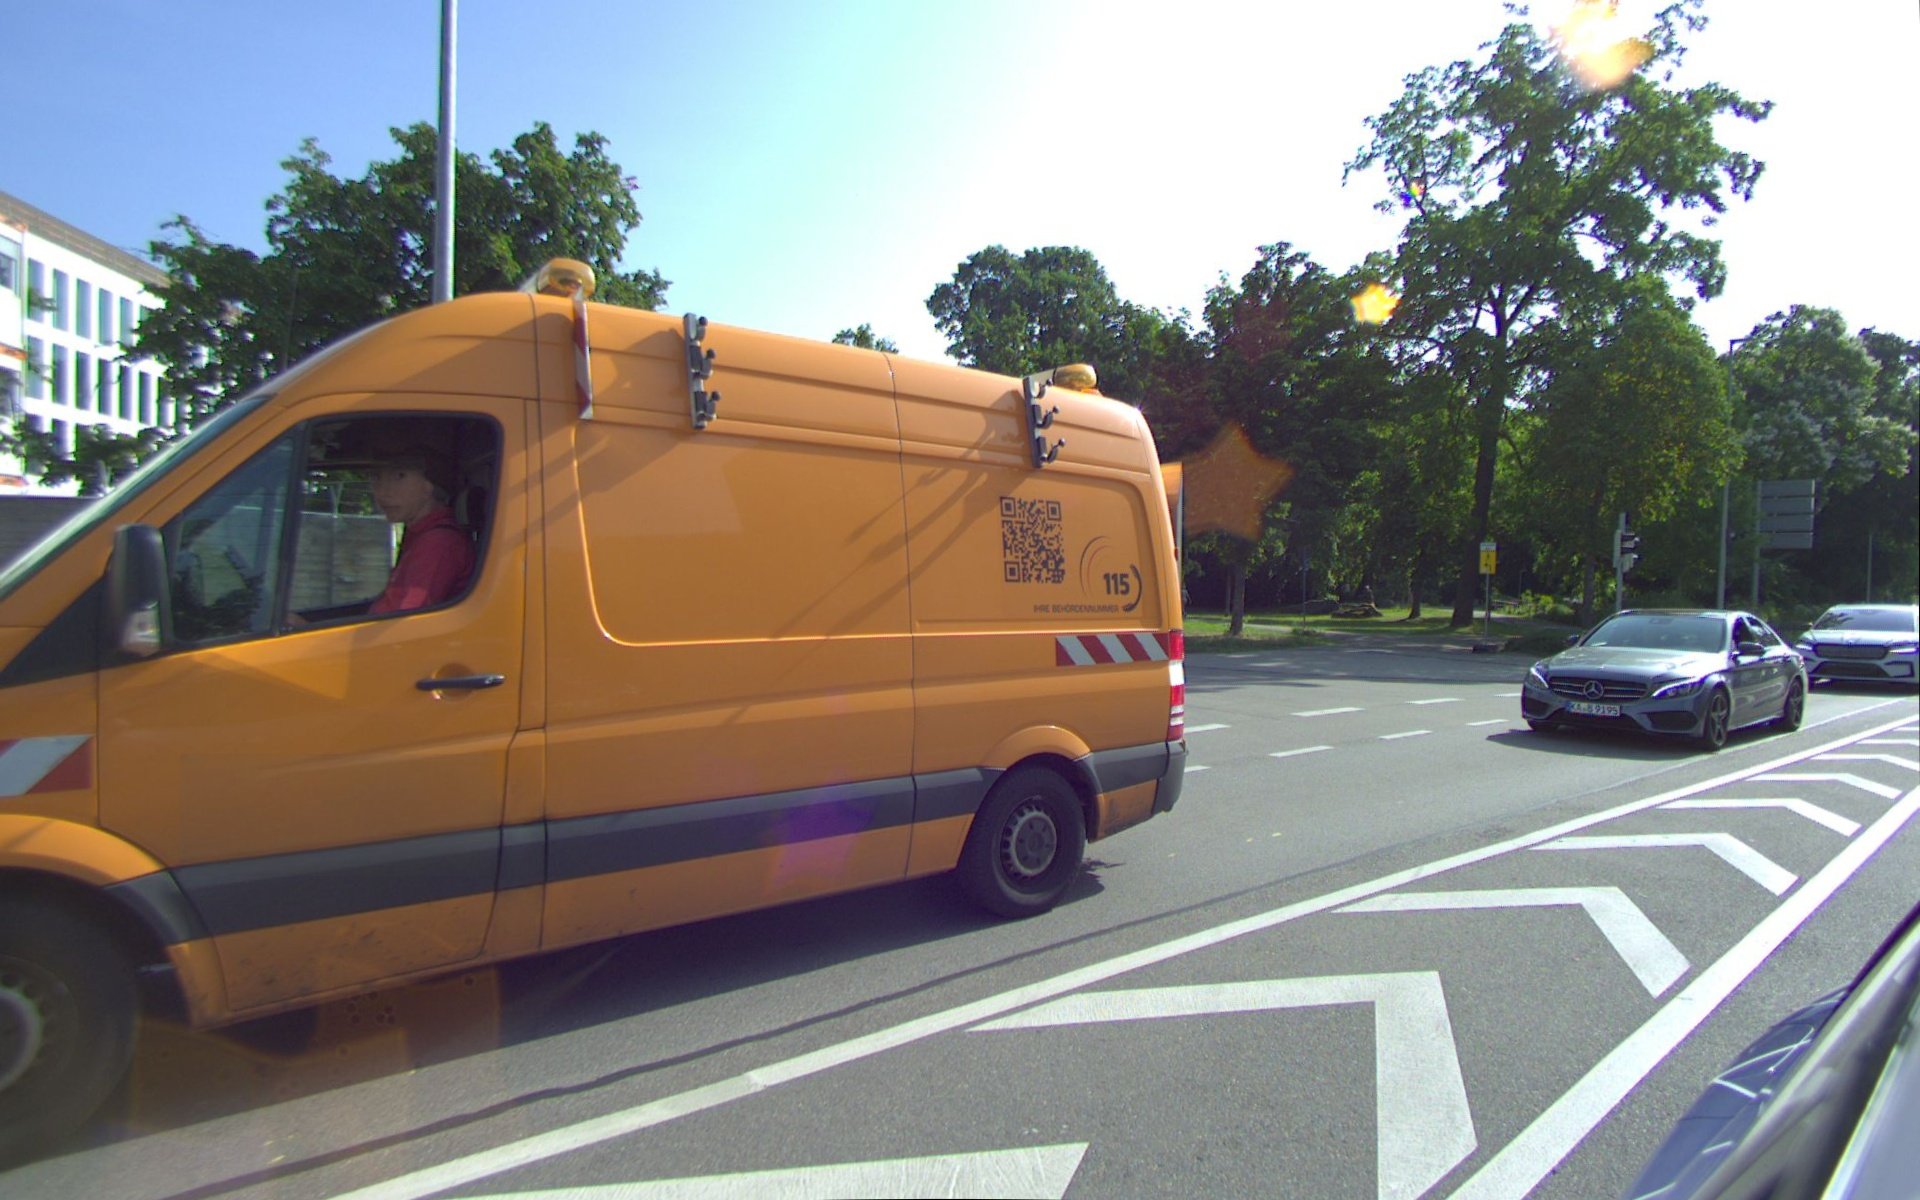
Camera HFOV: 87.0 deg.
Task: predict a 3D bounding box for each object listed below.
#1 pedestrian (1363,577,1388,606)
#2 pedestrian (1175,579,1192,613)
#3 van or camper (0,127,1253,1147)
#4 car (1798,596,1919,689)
[{"bbox_3d":[26.492,-0.540,64.519,1.048,1.853,0.987,1,1,-10],"label":"pedestrian"},{"bbox_3d":[10.238,-0.176,46.361,0.523,1.536,0.671,1,1,-9],"label":"pedestrian"},{"bbox_3d":[-1.376,0.081,4.492,5.949,2.503,1.991,0,1,-38],"label":"van or camper"},{"bbox_3d":[17.747,0.727,19.416,4.175,1.590,1.896,0,0,-40],"label":"car"}]
